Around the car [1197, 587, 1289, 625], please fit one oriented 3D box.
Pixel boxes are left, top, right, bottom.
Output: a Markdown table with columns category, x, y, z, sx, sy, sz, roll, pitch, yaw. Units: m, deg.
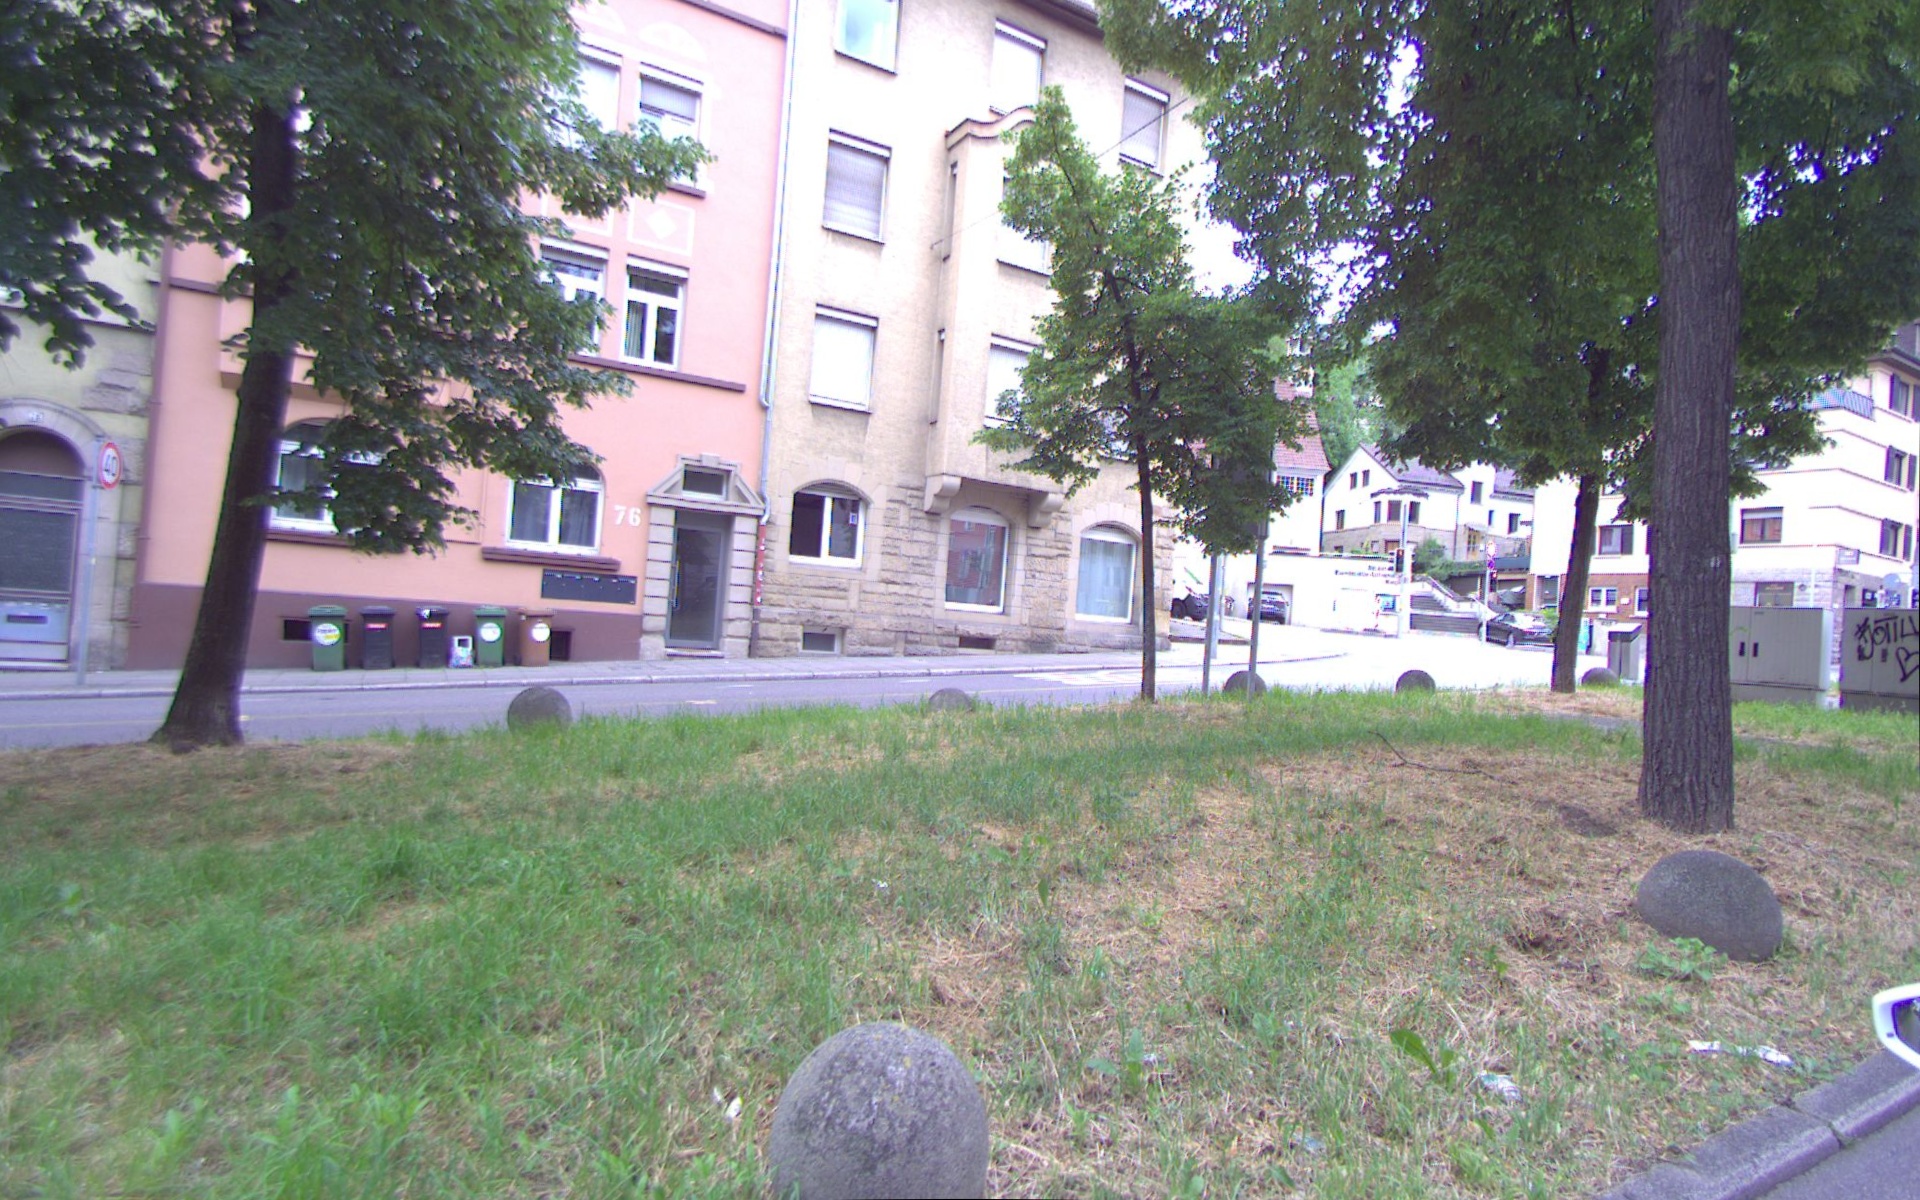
| category | x | y | z | sx | sy | sz | roll | pitch | yaw |
| --- | --- | --- | --- | --- | --- | --- | --- | --- | --- |
| car | 12.945 | 0.260 | 46.005 | 3.920 | 1.530 | 1.800 | 2 | 1 | 18 |

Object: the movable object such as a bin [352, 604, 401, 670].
| category | x | y | z | sx | sy | sz | roll | pitch | yaw |
| --- | --- | --- | --- | --- | --- | --- | --- | --- | --- |
| movable object such as a bin | -8.669 | 0.541 | 14.921 | 0.595 | 0.916 | 0.605 | 1 | 2 | -33 |

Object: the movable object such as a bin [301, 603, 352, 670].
| category | x | y | z | sx | sy | sz | roll | pitch | yaw |
| --- | --- | --- | --- | --- | --- | --- | --- | --- | --- |
| movable object such as a bin | -9.195 | 0.525 | 14.580 | 0.595 | 0.916 | 0.605 | 1 | 2 | -33 |

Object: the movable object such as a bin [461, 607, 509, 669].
| category | x | y | z | sx | sy | sz | roll | pitch | yaw |
| --- | --- | --- | --- | --- | --- | --- | --- | --- | --- |
| movable object such as a bin | -7.399 | 0.581 | 15.639 | 0.595 | 0.916 | 0.605 | 1 | 2 | -33 |

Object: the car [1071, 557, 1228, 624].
| category | x | y | z | sx | sy | sz | roll | pitch | yaw |
| --- | --- | --- | --- | --- | --- | --- | --- | --- | --- |
| car | 6.701 | -0.371 | 35.831 | 5.103 | 2.092 | 1.987 | 4 | 2 | 38 |

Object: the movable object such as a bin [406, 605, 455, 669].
| category | x | y | z | sx | sy | sz | roll | pitch | yaw |
| --- | --- | --- | --- | --- | --- | --- | --- | --- | --- |
| movable object such as a bin | -8.044 | 0.559 | 15.267 | 0.595 | 0.916 | 0.605 | 1 | 2 | -33 |

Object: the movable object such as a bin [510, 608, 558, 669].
| category | x | y | z | sx | sy | sz | roll | pitch | yaw |
| --- | --- | --- | --- | --- | --- | --- | --- | --- | --- |
| movable object such as a bin | -6.790 | 0.604 | 15.988 | 0.595 | 0.916 | 0.605 | 1 | 2 | -33 |

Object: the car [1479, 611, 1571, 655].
| category | x | y | z | sx | sy | sz | roll | pitch | yaw |
| --- | --- | --- | --- | --- | --- | --- | --- | --- | --- |
| car | 24.122 | 1.392 | 43.041 | 1.844 | 1.687 | 4.002 | 3 | -1 | 4 |
